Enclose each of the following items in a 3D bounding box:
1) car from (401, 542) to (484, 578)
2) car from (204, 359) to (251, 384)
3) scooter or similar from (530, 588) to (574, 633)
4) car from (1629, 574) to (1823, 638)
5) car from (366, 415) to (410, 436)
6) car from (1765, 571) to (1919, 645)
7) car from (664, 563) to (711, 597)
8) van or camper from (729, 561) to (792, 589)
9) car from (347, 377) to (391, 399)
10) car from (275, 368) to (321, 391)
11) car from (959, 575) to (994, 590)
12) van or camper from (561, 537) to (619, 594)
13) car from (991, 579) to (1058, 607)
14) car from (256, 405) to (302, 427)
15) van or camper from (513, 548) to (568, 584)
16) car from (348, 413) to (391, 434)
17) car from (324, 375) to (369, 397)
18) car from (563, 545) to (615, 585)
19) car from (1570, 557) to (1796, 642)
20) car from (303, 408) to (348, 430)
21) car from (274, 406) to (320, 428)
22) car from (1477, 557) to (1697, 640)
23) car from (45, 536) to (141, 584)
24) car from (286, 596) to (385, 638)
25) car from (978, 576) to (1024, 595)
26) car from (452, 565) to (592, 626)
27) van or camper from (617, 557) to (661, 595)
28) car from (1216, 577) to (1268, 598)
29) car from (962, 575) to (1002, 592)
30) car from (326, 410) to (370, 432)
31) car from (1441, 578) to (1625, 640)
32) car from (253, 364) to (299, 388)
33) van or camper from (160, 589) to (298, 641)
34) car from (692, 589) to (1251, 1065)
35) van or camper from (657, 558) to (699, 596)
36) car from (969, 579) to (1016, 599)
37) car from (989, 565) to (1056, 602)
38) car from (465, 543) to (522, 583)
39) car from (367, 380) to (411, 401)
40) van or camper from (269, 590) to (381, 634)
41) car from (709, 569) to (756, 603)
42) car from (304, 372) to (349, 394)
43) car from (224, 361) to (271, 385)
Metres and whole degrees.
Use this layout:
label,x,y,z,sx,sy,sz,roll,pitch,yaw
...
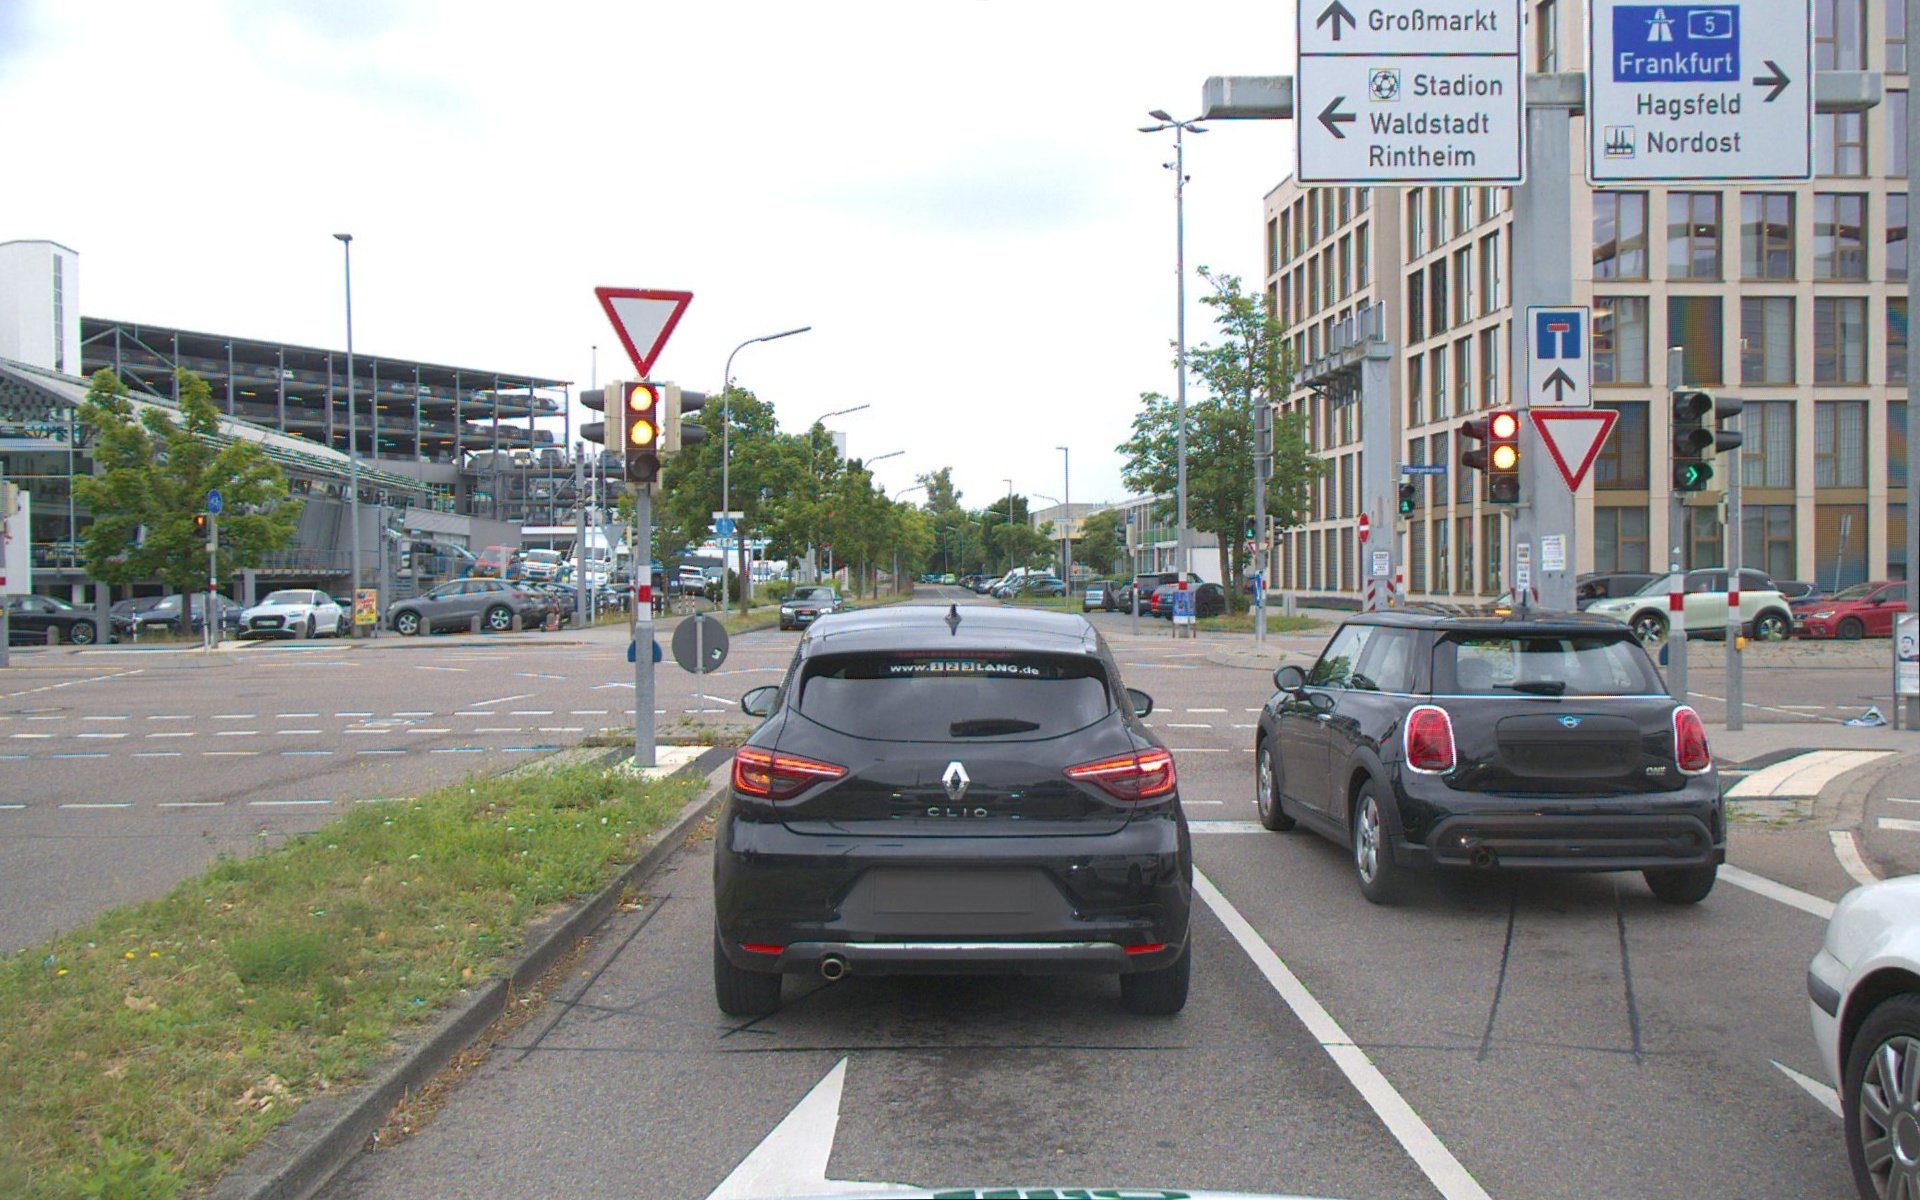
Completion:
label,x,y,z,sx,sy,sz,roll,pitch,yaw
car,-28.072,-2.166,89.798,3.908,1.870,1.759,1,0,-4
car,-64.946,-20.249,146.609,3.914,1.696,1.996,1,1,31
scooter or similar,-11.856,0.295,48.117,0.545,1.240,1.561,2,1,13
car,19.300,0.161,41.774,4.055,1.517,1.870,1,0,-5
car,-55.955,-17.069,161.767,3.914,1.696,1.996,1,1,31
car,21.264,0.203,38.698,3.908,1.629,1.998,1,0,-4
car,-13.690,-0.979,83.228,1.954,1.646,3.996,1,0,-4
van or camper,-18.082,-2.255,149.986,5.486,2.413,1.999,1,0,-2
car,-57.135,-20.526,159.995,3.914,1.696,1.996,1,1,31
car,-61.221,-20.416,152.977,3.914,1.696,1.996,1,1,31
car,2.270,-2.452,229.923,4.690,1.924,2.142,1,0,-3
van or camper,-21.073,-1.941,94.365,2.486,3.079,4.839,1,0,-4
car,5.005,-0.517,129.049,5.070,2.049,2.142,1,0,-3
car,-62.285,-16.817,151.187,3.914,1.696,1.996,1,1,31
van or camper,-21.026,-1.687,83.005,1.954,1.680,3.996,1,0,-4
car,-57.090,-17.070,159.897,3.914,1.696,1.996,1,1,31
car,-58.478,-20.371,157.673,3.914,1.696,1.996,1,1,31
car,-18.609,-1.736,83.168,1.954,1.855,3.996,1,0,-4
car,15.221,-0.004,34.929,3.977,1.672,1.903,1,0,-6
car,-59.646,-17.009,155.538,3.914,1.696,1.996,1,1,31
car,-61.426,-16.930,153.281,3.914,1.696,1.996,1,1,31
car,14.430,-0.023,38.191,4.321,1.800,1.998,1,0,-5
car,-32.734,-1.485,62.551,1.784,1.691,3.995,1,0,-5
car,-28.975,0.801,76.802,3.911,1.870,1.757,1,0,-7
car,4.334,-1.556,175.640,4.690,1.924,2.142,1,0,-3
car,-16.212,-0.168,61.418,4.683,2.049,1.997,-2,0,-7
van or camper,-18.285,-1.338,94.396,1.954,2.049,3.996,1,0,-4
car,18.953,-0.811,111.120,3.182,1.356,1.477,1,0,-20
car,2.875,-2.179,218.175,5.069,2.049,2.143,1,0,-2
car,-58.351,-17.045,157.683,3.914,1.696,1.996,1,1,31
car,14.334,0.235,41.473,4.005,1.457,1.749,1,0,-5
car,-62.458,-20.445,151.091,3.914,1.696,1.996,1,1,31
van or camper,-25.589,0.522,58.013,3.909,1.707,1.998,1,0,-5
car,0.011,0.718,7.158,1.721,1.460,3.999,1,0,-1
van or camper,-16.132,-1.300,94.620,1.954,2.049,3.996,1,0,-4
car,3.566,-1.237,182.225,5.069,2.049,2.143,1,0,-2
car,5.734,-1.503,151.672,5.993,3.171,2.133,1,0,-2
car,-23.430,-1.846,83.208,1.954,1.881,3.996,1,0,-4
car,-55.892,-20.489,161.837,3.914,1.696,1.996,1,1,31
van or camper,-26.399,0.488,68.850,3.909,1.741,1.845,1,0,-5
car,-11.499,-0.696,83.851,1.954,1.646,3.998,1,0,-3
car,-59.594,-20.399,155.643,3.914,1.696,1.996,1,1,31
car,-64.010,-20.378,148.672,3.914,1.696,1.996,1,1,31
